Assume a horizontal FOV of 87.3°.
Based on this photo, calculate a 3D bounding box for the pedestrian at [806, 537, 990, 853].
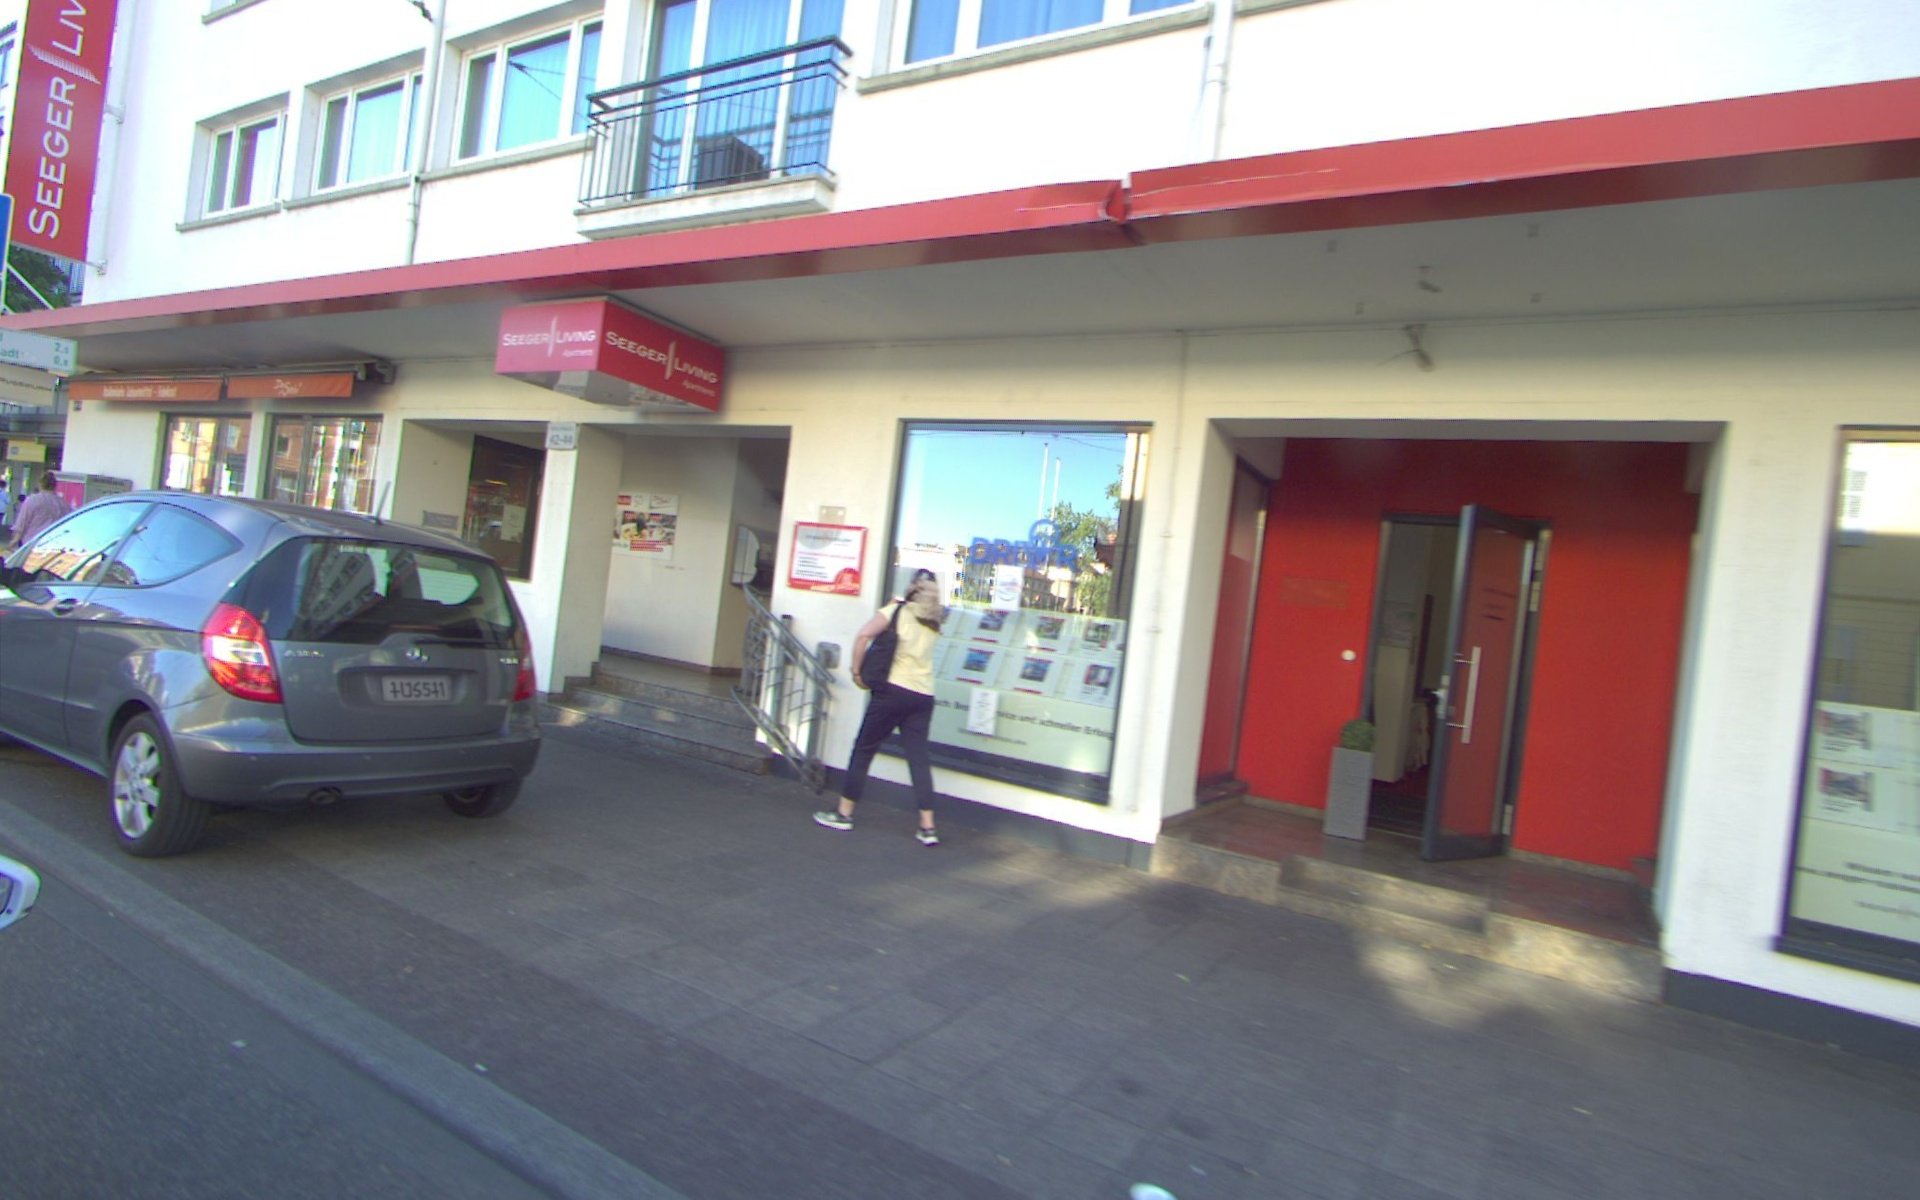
[{"bbox_3d":[-0.424,0.569,6.370,0.793,1.796,0.930,7,0,-16],"label":"pedestrian"}]

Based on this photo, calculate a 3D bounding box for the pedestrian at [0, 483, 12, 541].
[{"bbox_3d":[-28.138,-2.590,29.288,0.459,1.662,0.595,7,1,33],"label":"pedestrian"}]

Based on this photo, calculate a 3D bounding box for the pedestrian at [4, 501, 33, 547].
[{"bbox_3d":[-28.011,-2.266,29.925,0.522,1.296,0.420,7,1,33],"label":"pedestrian"}]

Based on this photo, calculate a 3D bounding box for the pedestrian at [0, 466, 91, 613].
[{"bbox_3d":[-11.723,-0.752,12.756,0.813,1.702,0.708,9,-2,-36],"label":"pedestrian"}]

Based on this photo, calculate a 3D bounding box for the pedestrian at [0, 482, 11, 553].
[{"bbox_3d":[-24.243,-2.103,24.752,0.519,1.761,1.009,8,-2,7],"label":"pedestrian"}]

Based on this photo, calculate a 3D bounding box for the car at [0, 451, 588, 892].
[{"bbox_3d":[-4.039,0.178,5.586,3.588,1.652,1.747,7,1,32],"label":"car"}]
